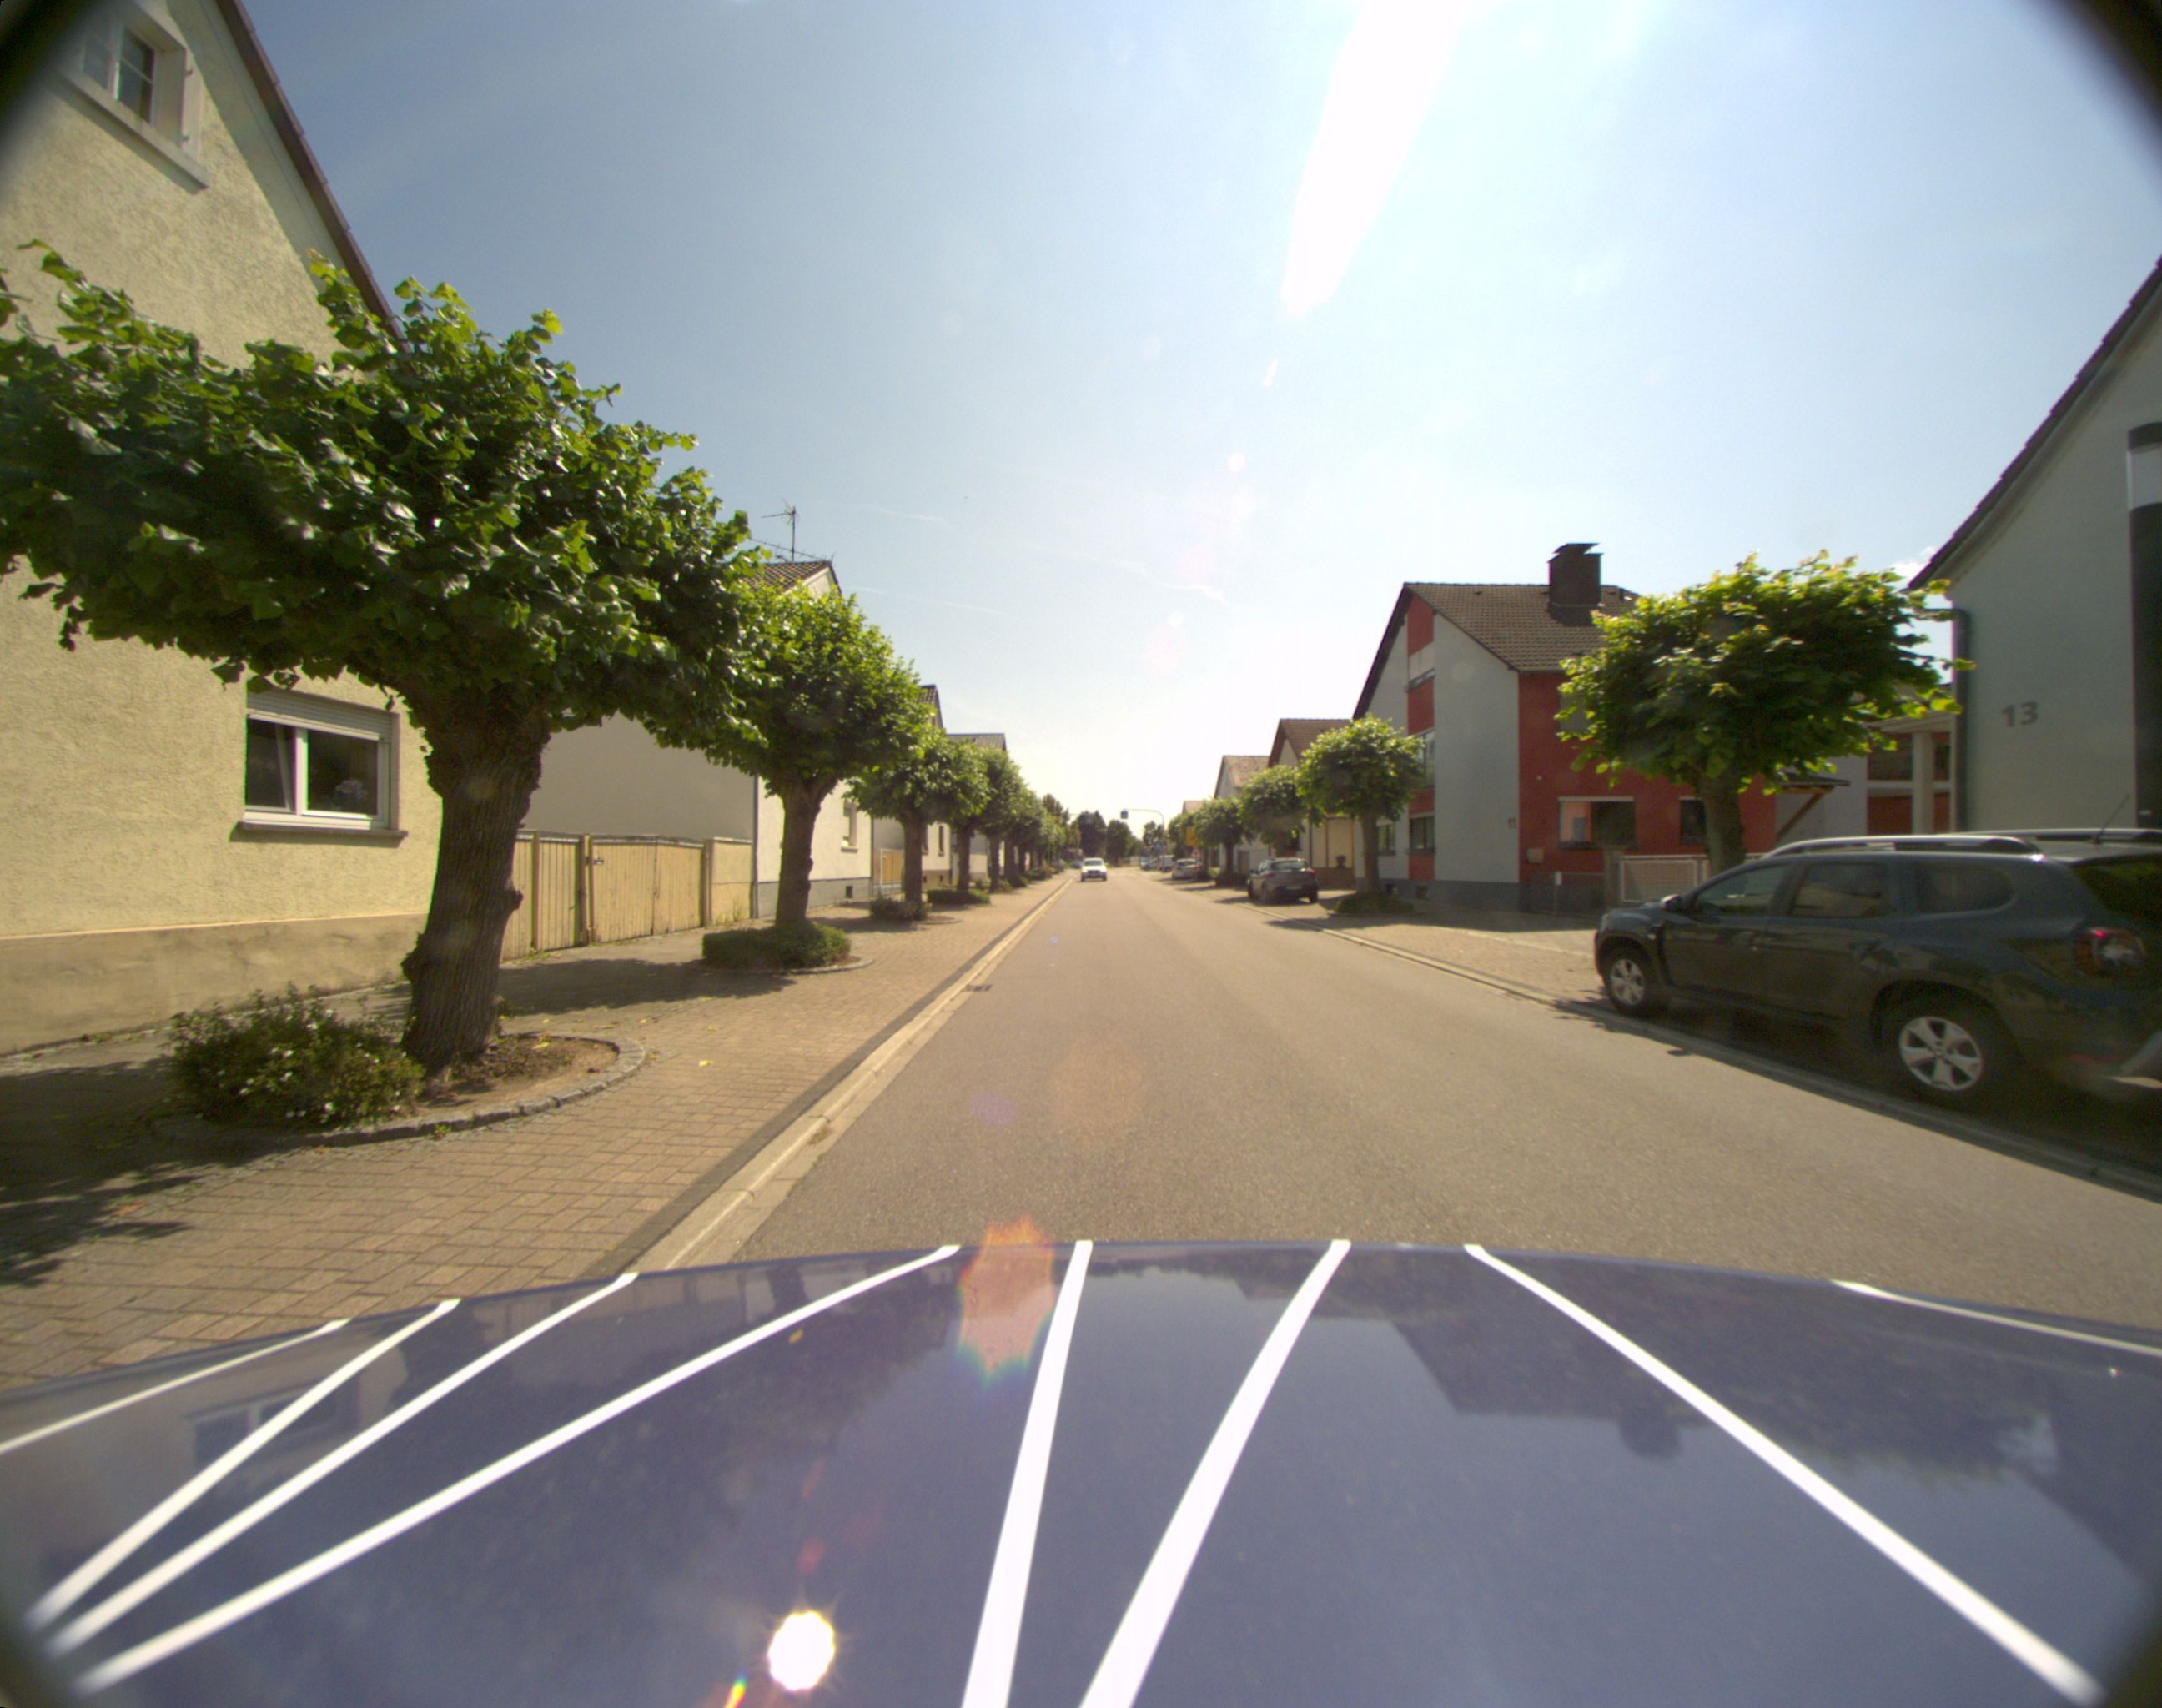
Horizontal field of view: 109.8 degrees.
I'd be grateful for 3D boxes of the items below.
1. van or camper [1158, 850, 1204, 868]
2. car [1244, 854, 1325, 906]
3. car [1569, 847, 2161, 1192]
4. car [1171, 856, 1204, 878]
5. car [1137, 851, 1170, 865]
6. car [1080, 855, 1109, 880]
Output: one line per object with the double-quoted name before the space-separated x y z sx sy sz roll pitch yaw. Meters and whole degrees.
"van or camper" 10.827 0.551 82.549 4.752 1.851 2.000 -2 0 0
"car" 7.045 0.843 26.679 1.857 1.603 4.135 -2 0 3
"car" 6.068 0.820 5.845 1.857 1.626 4.300 -3 -1 1
"car" 7.631 0.899 54.774 1.829 1.474 4.132 -2 0 1
"car" 10.216 0.564 106.866 4.251 1.709 1.945 -2 0 -5
"car" 0.977 0.905 53.000 1.857 1.603 4.135 -2 0 3
